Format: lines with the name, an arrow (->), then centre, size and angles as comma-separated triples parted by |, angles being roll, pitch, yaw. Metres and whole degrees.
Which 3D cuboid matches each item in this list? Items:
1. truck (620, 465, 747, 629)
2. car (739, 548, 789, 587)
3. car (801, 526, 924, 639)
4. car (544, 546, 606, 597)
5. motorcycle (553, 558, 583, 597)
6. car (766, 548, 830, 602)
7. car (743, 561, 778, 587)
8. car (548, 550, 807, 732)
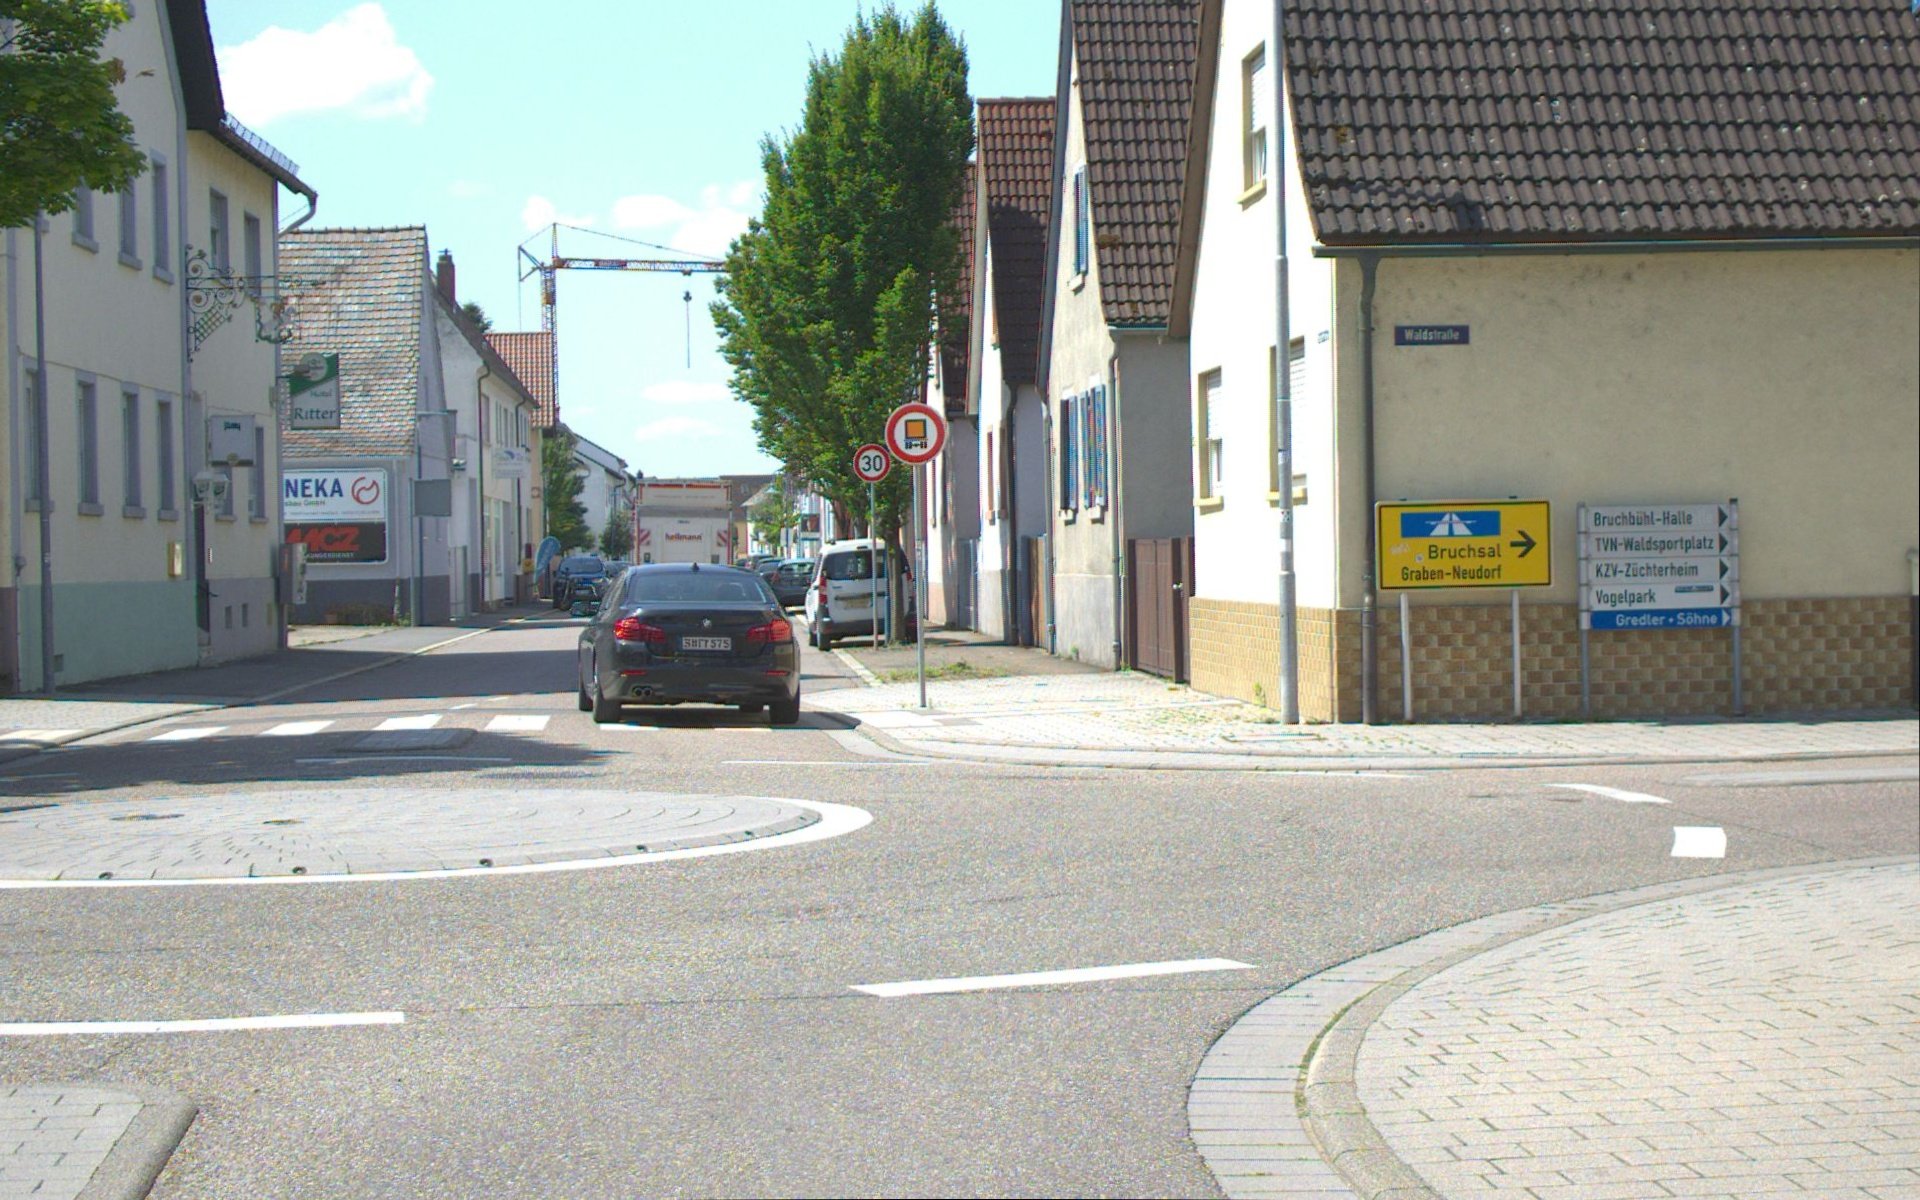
truck -> -7.523, -1.412, 94.755 | 3.144, 4.236, 9.303 | 1, 0, -3
car -> -7.056, -1.184, 123.539 | 1.719, 1.350, 4.157 | 0, 1, -4
car -> -1.690, -0.316, 58.342 | 1.719, 1.784, 4.145 | -2, 1, -6
car -> -12.199, -0.925, 109.083 | 1.809, 1.583, 4.001 | 0, 1, -5
motorcycle -> -11.979, -0.686, 105.230 | 0.846, 1.166, 2.470 | 1, 0, -5
car -> -4.479, -0.701, 95.175 | 1.719, 1.456, 4.157 | 0, 1, -2
car -> -10.015, -1.308, 172.361 | 1.719, 1.264, 4.157 | 0, 1, -4
car -> -2.728, 0.321, 32.304 | 1.901, 1.558, 4.478 | -1, 1, -11
